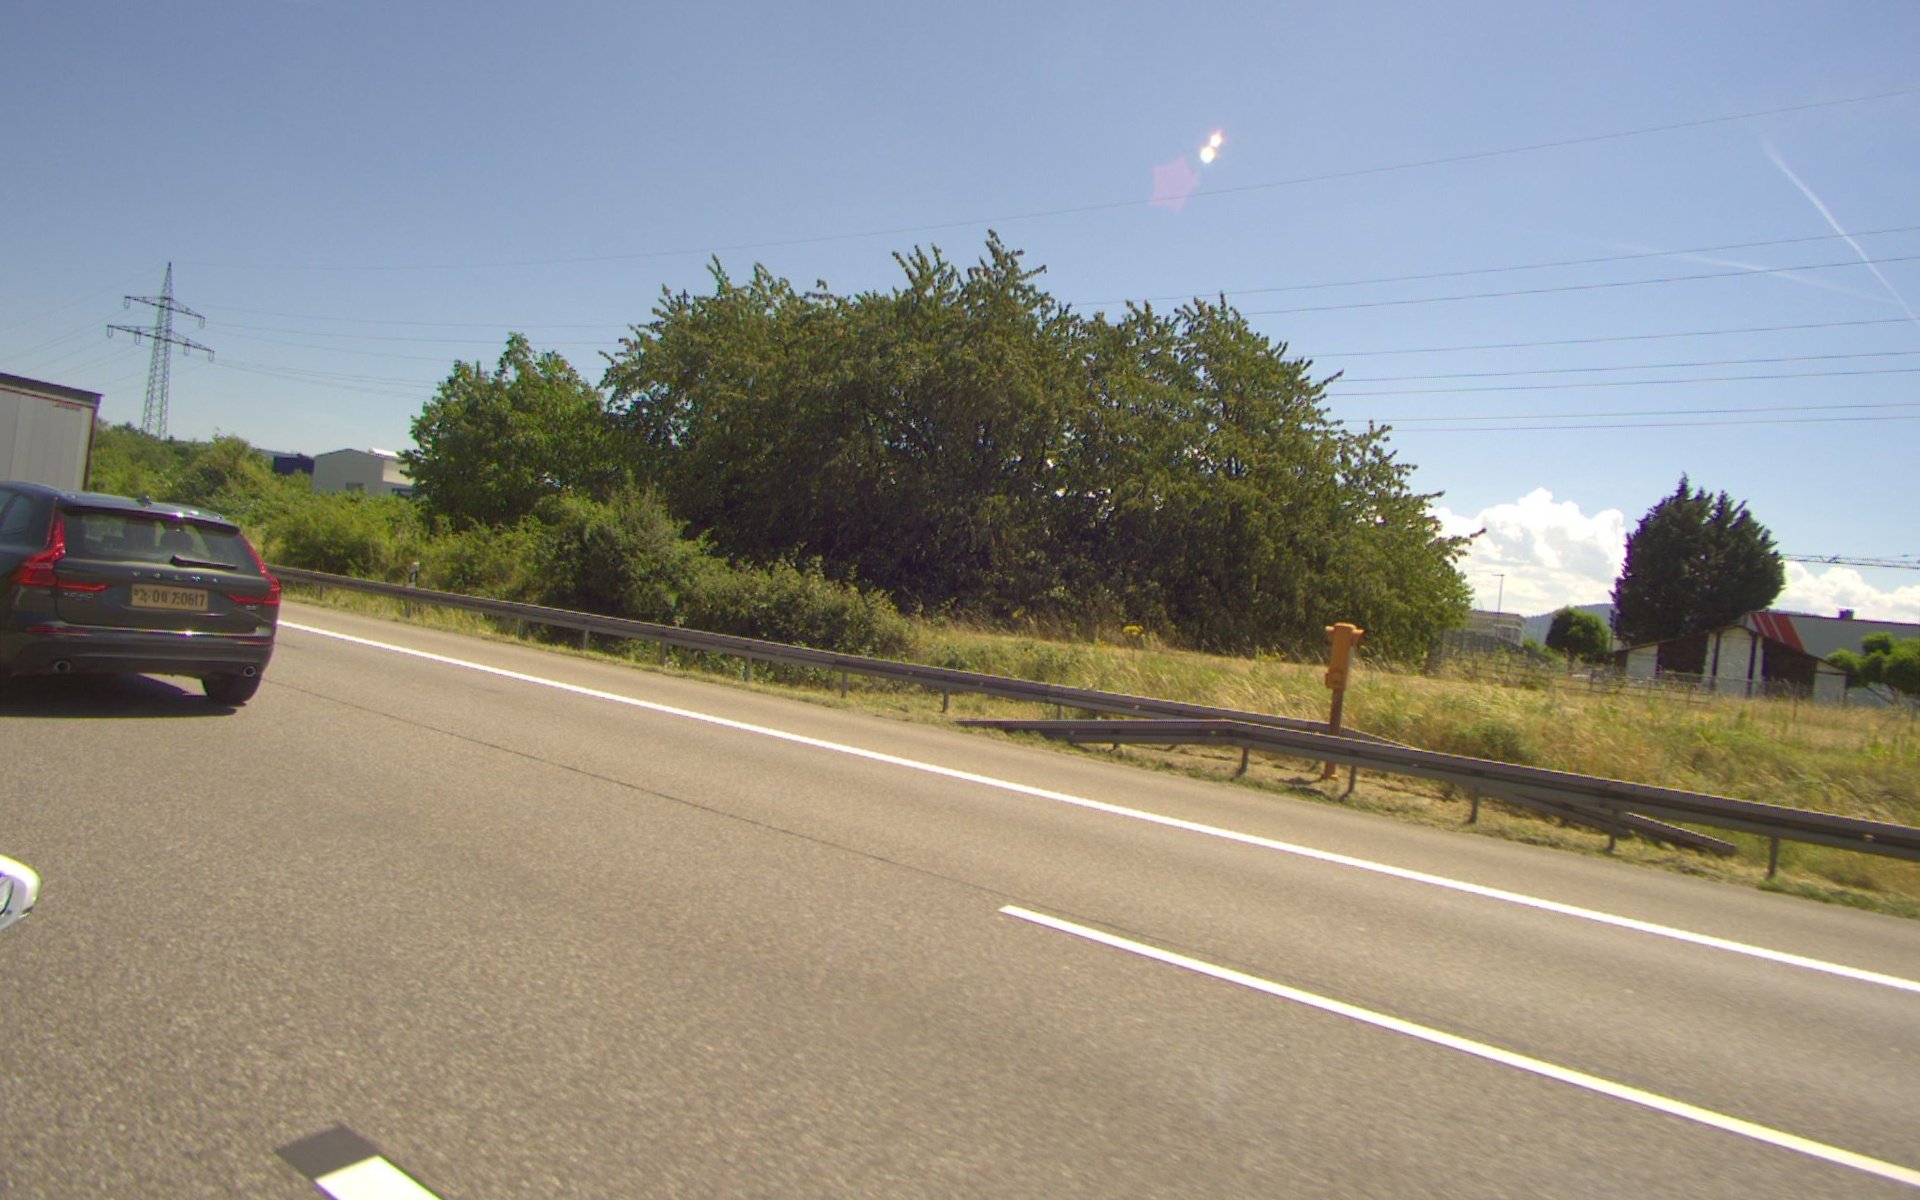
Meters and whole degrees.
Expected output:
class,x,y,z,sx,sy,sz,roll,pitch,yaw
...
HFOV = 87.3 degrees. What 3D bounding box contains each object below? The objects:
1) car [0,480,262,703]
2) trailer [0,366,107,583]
class,x,y,z,sx,sy,sz,roll,pitch,yaw
car,-8.369,-0.178,9.053,3.937,1.642,1.877,6,-1,31
trailer,-24.564,-3.150,23.658,12.905,4.155,2.740,6,-1,32
